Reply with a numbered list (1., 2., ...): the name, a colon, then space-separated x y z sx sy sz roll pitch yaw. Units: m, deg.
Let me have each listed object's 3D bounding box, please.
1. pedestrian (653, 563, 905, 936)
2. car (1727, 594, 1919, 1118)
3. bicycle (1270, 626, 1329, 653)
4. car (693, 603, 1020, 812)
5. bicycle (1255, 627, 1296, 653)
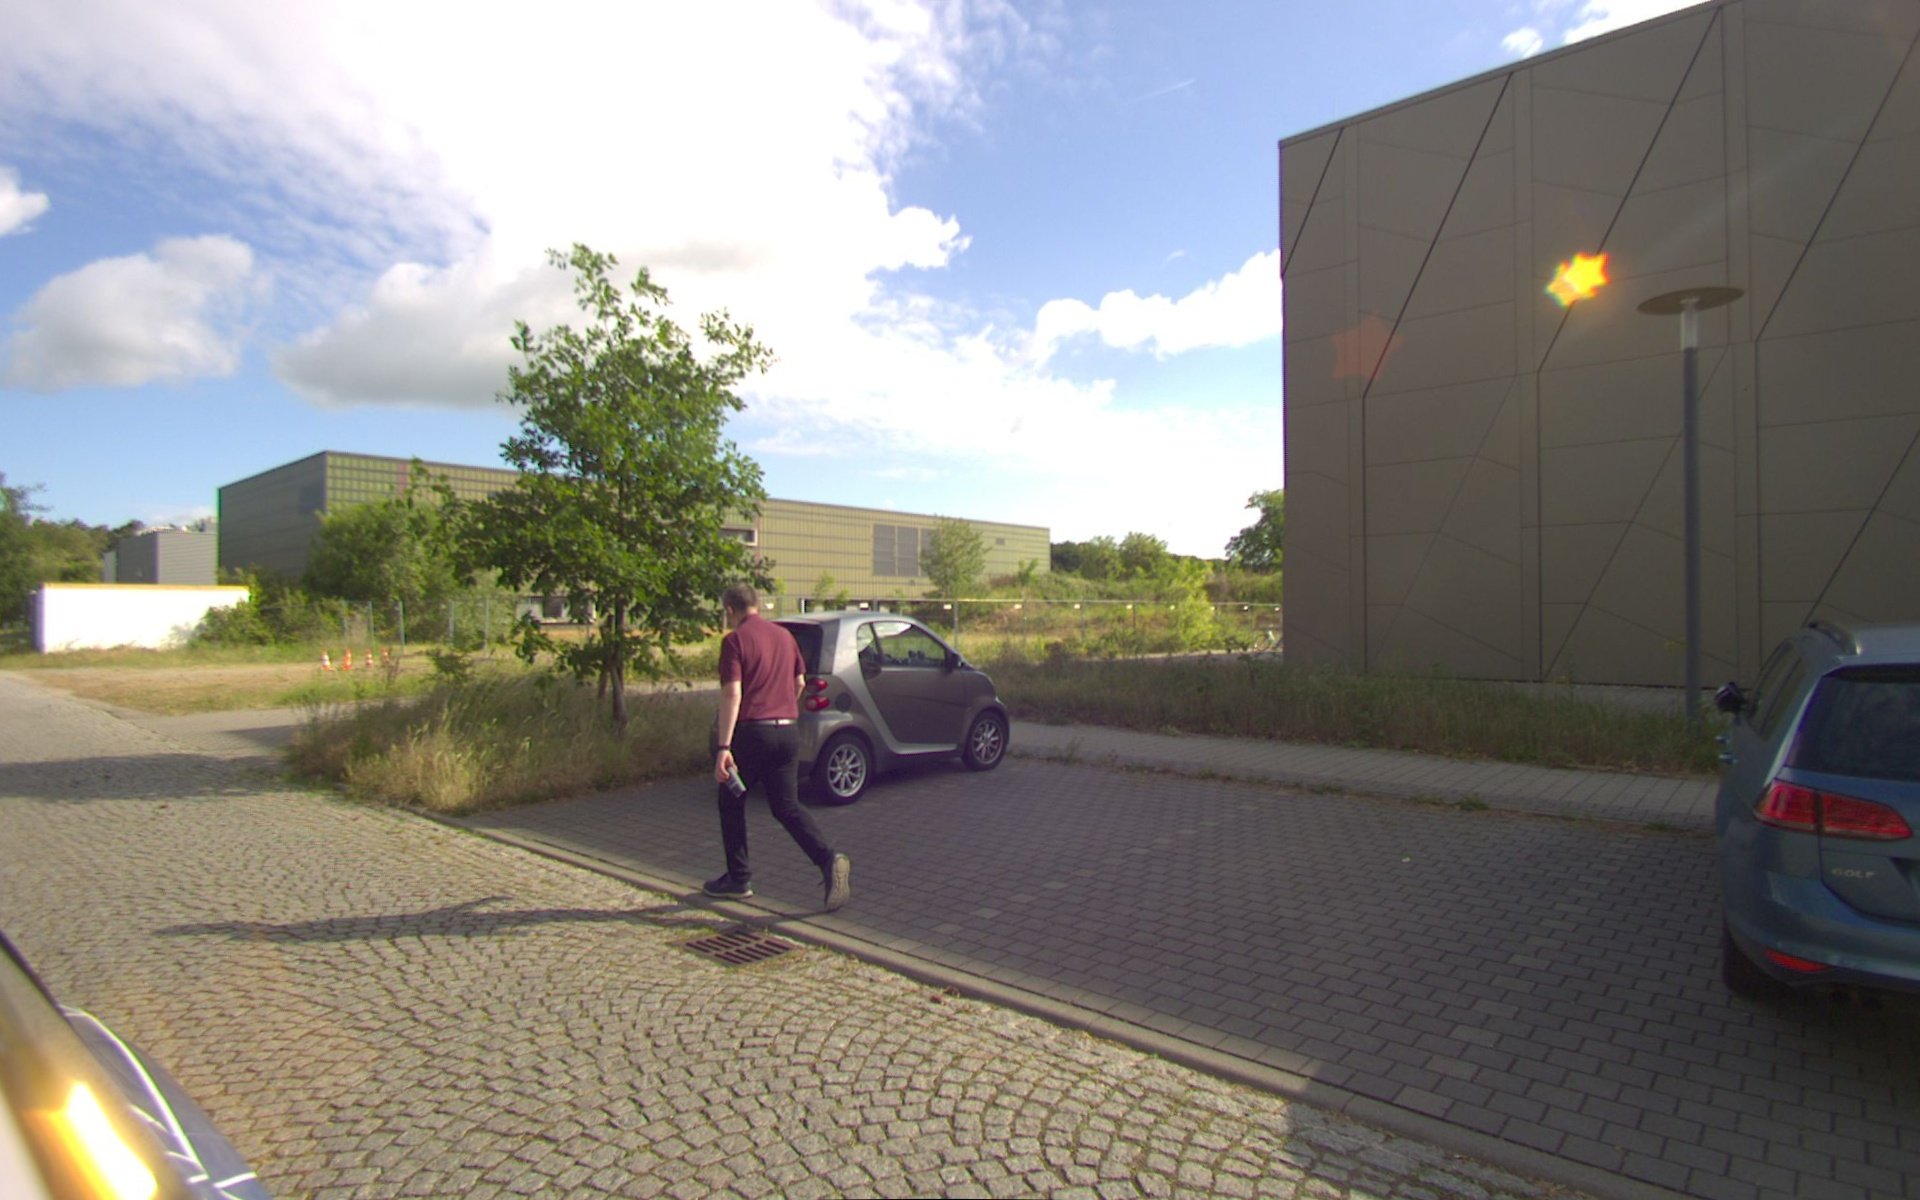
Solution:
1. pedestrian: -0.996 0.731 5.534 1.151 1.785 0.796 -1 -2 38
2. car: 4.489 0.742 4.387 1.679 1.475 4.215 -4 -1 39
3. bicycle: 13.196 1.549 39.344 1.968 0.976 0.830 -5 -4 45
4. car: -0.867 0.847 9.314 1.518 1.554 2.671 -1 0 40
5. bicycle: 11.746 1.498 37.710 1.358 0.906 0.511 -4 -4 45
